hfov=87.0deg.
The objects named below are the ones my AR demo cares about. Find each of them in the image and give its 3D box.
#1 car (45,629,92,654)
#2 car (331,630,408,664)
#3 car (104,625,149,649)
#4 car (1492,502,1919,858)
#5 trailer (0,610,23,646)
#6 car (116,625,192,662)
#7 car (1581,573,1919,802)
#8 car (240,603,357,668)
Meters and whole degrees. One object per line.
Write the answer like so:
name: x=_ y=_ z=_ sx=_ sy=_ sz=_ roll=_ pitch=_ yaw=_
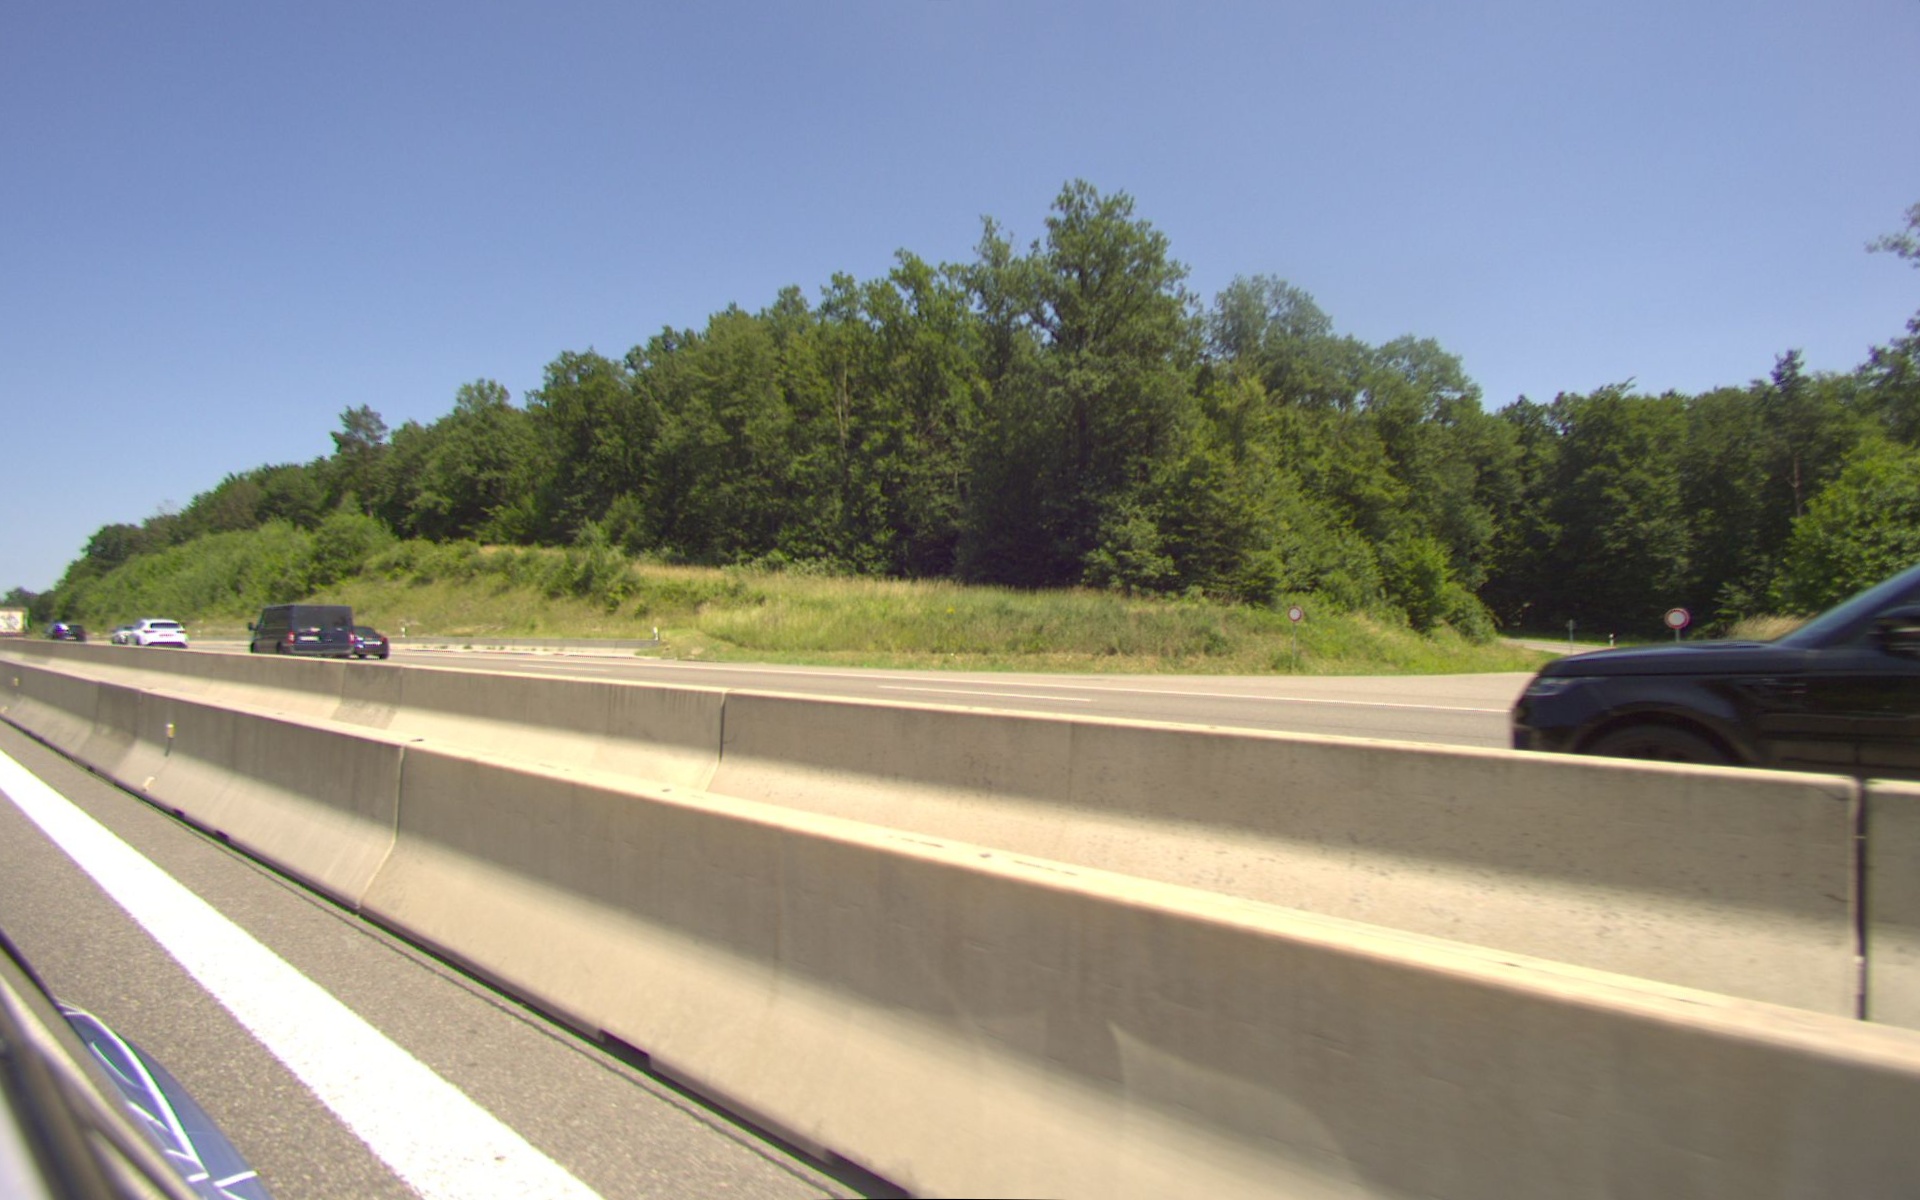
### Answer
car: x=-58.137 y=2.682 z=65.962 sx=4.727 sy=1.560 sz=1.782 roll=-1 pitch=-2 yaw=42
car: x=-24.332 y=1.934 z=41.632 sx=4.298 sy=1.315 sz=1.471 roll=-2 pitch=-3 yaw=42
car: x=-57.602 y=2.557 z=69.918 sx=4.421 sy=1.574 sz=1.725 roll=-2 pitch=-4 yaw=42
car: x=5.797 y=0.410 z=5.038 sx=5.278 sy=1.686 sz=1.973 roll=-1 pitch=-4 yaw=41
trailer: x=-115.714 y=3.393 z=122.072 sx=13.838 sy=4.115 sz=2.893 roll=-2 pitch=-2 yaw=43
car: x=-38.593 y=2.041 z=48.404 sx=4.928 sy=1.682 sz=1.973 roll=-1 pitch=-2 yaw=41
car: x=8.090 y=0.681 z=7.906 sx=5.278 sy=1.687 sz=1.973 roll=-1 pitch=-4 yaw=41
car: x=-22.421 y=1.176 z=34.221 sx=4.808 sy=2.029 sz=1.974 roll=-1 pitch=-2 yaw=39
